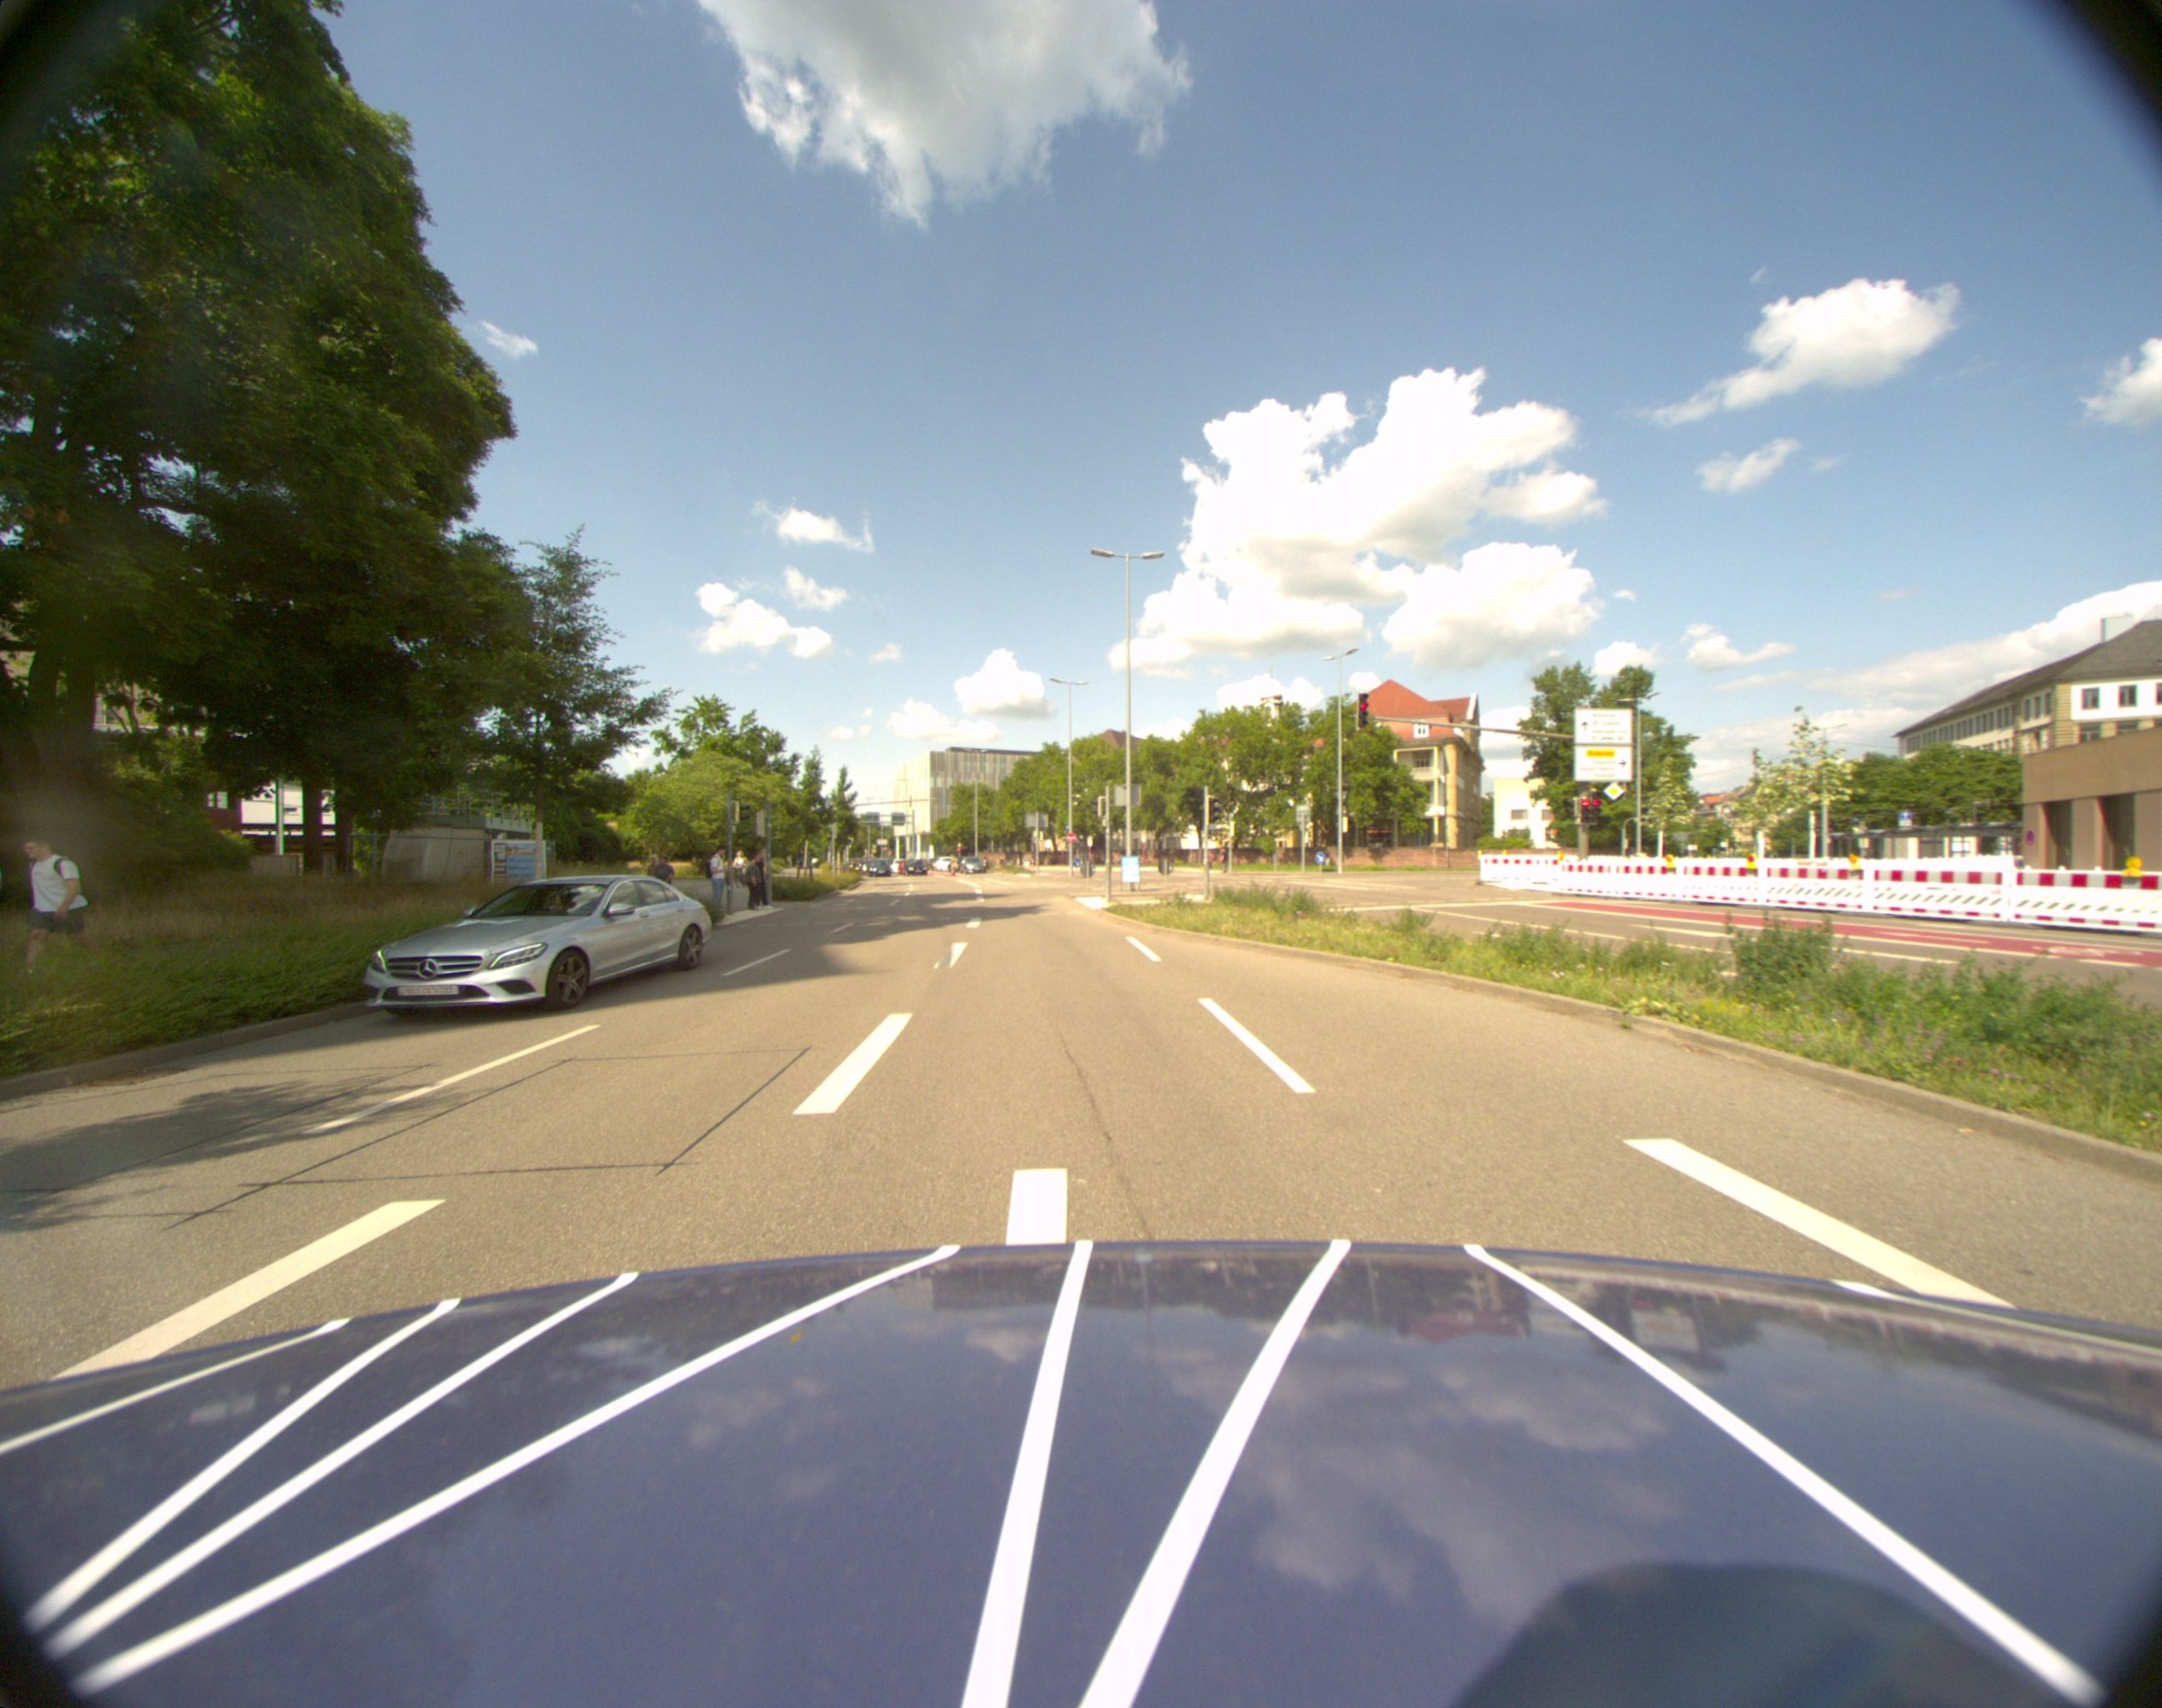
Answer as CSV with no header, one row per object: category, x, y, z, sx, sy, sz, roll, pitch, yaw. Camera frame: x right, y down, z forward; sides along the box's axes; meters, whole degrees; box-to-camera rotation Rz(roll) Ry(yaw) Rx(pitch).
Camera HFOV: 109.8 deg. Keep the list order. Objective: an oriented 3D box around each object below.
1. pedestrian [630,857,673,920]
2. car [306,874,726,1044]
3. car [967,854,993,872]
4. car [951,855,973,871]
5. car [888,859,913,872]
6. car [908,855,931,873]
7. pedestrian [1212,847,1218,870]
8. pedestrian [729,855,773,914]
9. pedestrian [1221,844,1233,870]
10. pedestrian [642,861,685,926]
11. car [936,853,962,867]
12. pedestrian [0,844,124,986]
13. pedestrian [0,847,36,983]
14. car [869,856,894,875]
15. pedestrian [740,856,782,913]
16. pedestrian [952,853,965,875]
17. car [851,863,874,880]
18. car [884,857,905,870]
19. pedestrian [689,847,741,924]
pedestrian,-12.216,0.976,21.646,0.768,1.725,0.718,-2,1,-8
car,-6.589,1.078,9.765,1.936,1.447,4.757,-1,0,-2
car,-8.676,0.735,65.189,2.000,1.368,4.265,-2,1,-10
car,-11.261,0.842,71.966,1.734,1.327,3.784,-2,1,-13
car,-16.335,1.053,68.768,1.600,1.127,3.622,-1,0,-23
car,-13.668,0.823,64.211,1.827,1.454,3.995,-1,0,-13
pedestrian,10.448,0.362,59.359,0.369,1.722,0.451,-2,1,17
pedestrian,-10.047,0.919,23.164,0.928,1.725,0.768,-2,1,-2
pedestrian,11.096,0.236,57.917,0.582,1.982,0.621,-3,1,-27
pedestrian,-11.498,1.067,20.949,0.768,1.725,0.718,-2,1,-8
car,-13.684,0.635,78.770,1.781,1.346,3.992,-2,1,-23
pedestrian,-12.848,0.727,9.514,0.616,1.690,0.889,2,1,-5
pedestrian,-13.795,0.761,9.360,0.616,1.690,0.889,2,1,-5
car,-16.368,0.950,62.428,1.827,1.454,3.995,-1,0,-13
pedestrian,-10.085,0.942,23.940,0.928,1.725,0.768,-2,1,-2
pedestrian,-9.705,0.768,60.095,0.739,1.704,0.874,-3,1,-22
car,-19.742,1.563,68.801,1.827,1.454,3.995,-1,0,-13
car,-18.403,0.926,75.113,1.911,1.127,4.096,-1,2,-13
pedestrian,-9.898,0.834,20.578,0.965,2.002,0.768,-2,1,-2
